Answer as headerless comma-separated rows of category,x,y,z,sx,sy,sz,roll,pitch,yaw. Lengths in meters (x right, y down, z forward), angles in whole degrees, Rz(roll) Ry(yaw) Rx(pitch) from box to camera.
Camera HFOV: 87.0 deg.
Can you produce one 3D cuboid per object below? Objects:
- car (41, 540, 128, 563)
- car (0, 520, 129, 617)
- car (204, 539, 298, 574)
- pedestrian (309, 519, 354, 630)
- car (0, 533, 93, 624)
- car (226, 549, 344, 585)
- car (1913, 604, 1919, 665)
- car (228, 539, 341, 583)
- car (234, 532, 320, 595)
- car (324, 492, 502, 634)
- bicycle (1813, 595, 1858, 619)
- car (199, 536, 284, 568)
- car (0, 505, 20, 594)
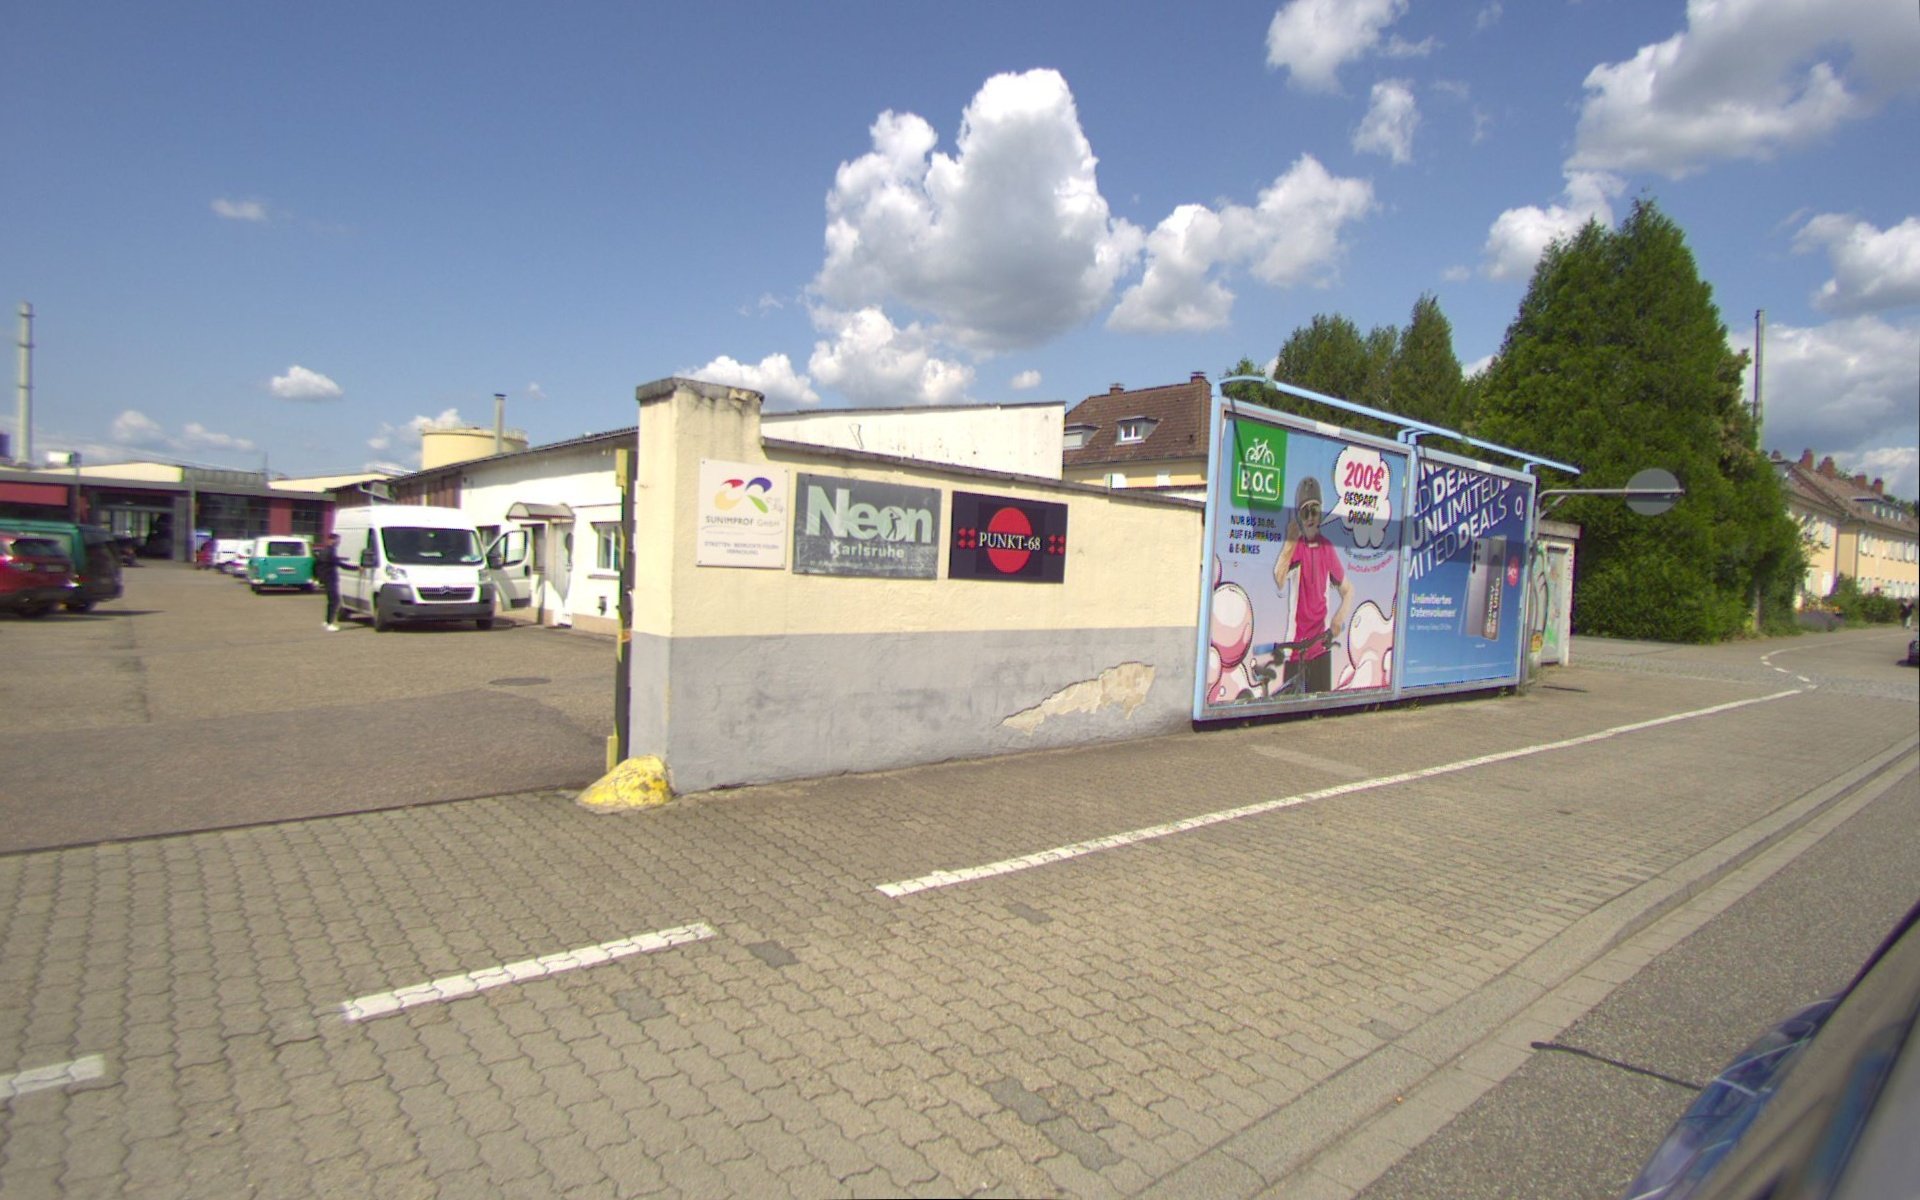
car,-53.069,-2.917,61.400,3.931,1.293,1.601,-1,2,-42
car,-20.964,-0.725,22.223,3.802,2.047,1.788,1,2,-15
car,-38.206,-2.339,54.597,3.932,1.808,1.997,-1,3,-43
pedestrian,-11.847,-0.484,19.070,0.615,2.038,0.708,0,1,-41
car,-19.846,-0.522,19.639,4.100,1.679,2.004,3,1,-11
car,-28.534,-1.368,42.822,3.931,1.407,1.997,-1,3,-42
car,25.029,0.863,24.982,4.023,1.448,1.656,0,3,-40
car,-30.001,-1.717,44.982,3.932,1.808,1.997,-1,3,-42
car,-22.952,-1.248,33.947,1.965,1.941,3.996,0,3,-41
car,-11.340,-0.751,20.720,2.101,2.482,5.845,0,2,-40
bicycle,44.160,0.355,51.065,0.285,1.116,1.693,1,1,-40
car,-43.157,-2.878,60.830,3.932,1.808,1.997,-1,3,-43
car,-29.689,-1.502,28.963,4.069,2.554,1.996,-1,3,-43
